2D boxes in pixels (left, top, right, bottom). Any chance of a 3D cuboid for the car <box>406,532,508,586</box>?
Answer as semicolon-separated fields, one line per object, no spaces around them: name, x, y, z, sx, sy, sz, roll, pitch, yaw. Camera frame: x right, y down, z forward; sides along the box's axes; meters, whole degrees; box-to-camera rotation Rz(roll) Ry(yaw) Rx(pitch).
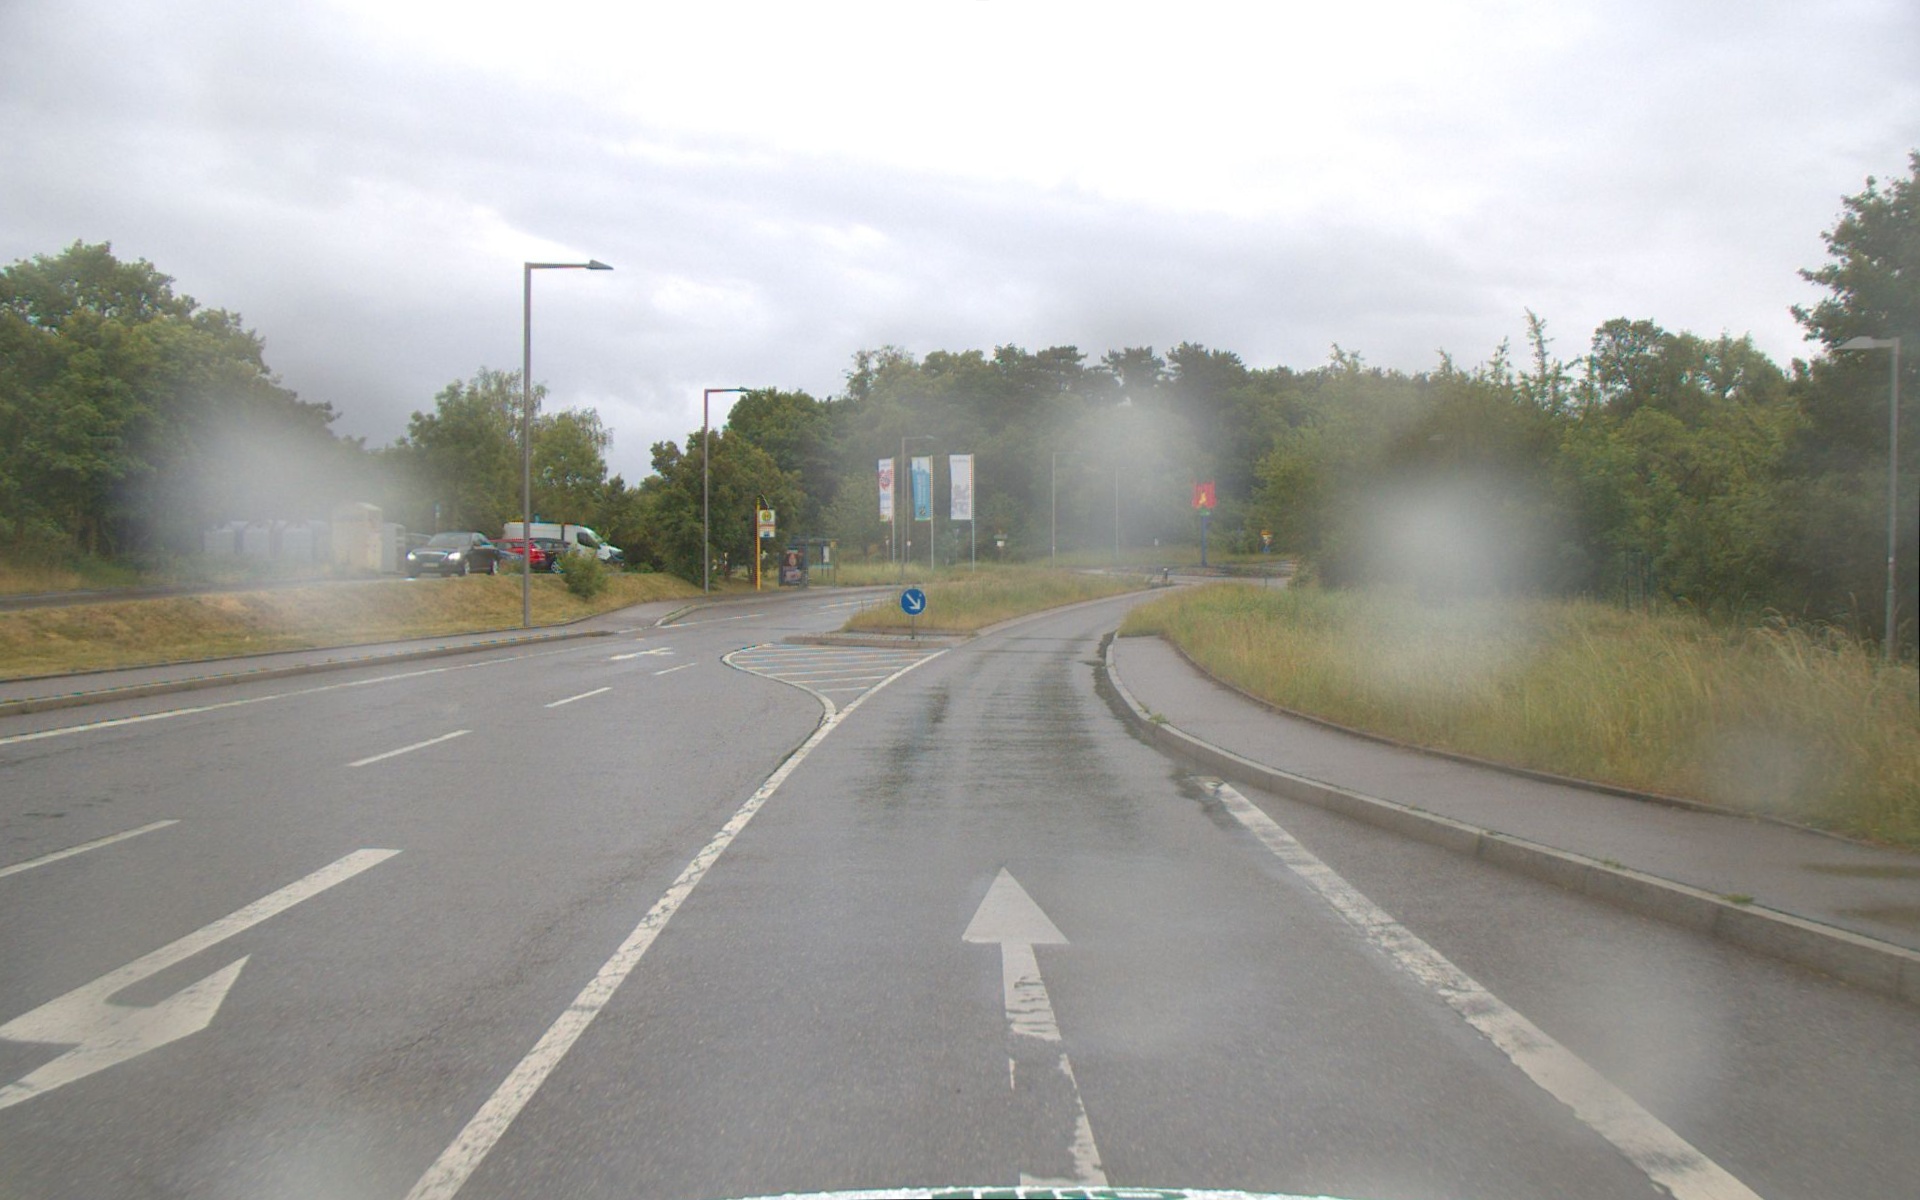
car;-16.316;-1.388;53.879;1.656;1.595;4.545;3;3;3

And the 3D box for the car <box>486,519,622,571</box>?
car;-20.989;-2.841;85.640;6.421;2.439;2.139;1;0;0

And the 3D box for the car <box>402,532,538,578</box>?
car;-18.950;-1.734;64.075;4.607;1.722;2.006;0;1;4

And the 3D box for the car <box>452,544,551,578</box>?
car;-20.688;-1.761;74.658;3.903;1.494;1.849;0;1;4

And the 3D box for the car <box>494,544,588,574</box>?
car;-19.694;-1.945;77.815;3.902;1.388;1.849;0;1;6
